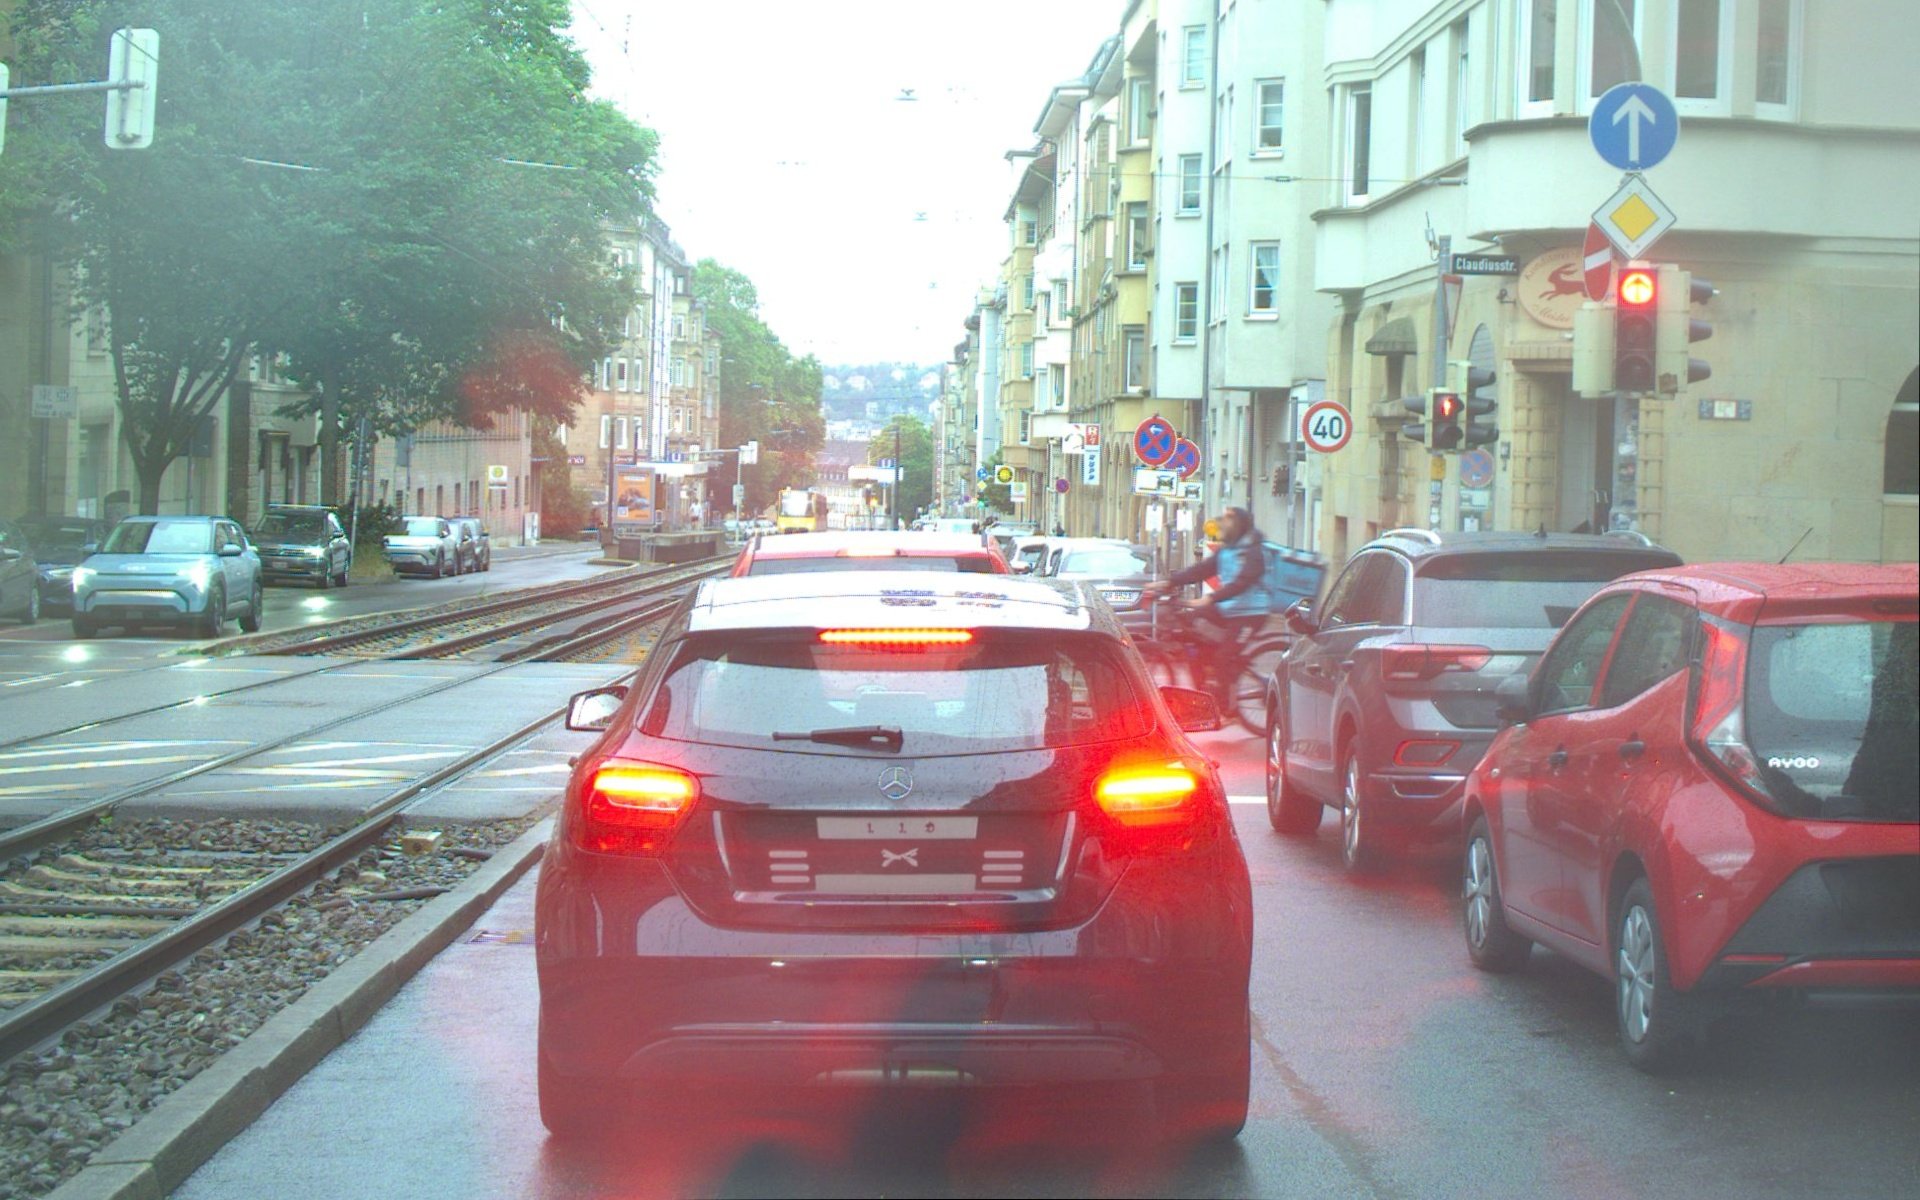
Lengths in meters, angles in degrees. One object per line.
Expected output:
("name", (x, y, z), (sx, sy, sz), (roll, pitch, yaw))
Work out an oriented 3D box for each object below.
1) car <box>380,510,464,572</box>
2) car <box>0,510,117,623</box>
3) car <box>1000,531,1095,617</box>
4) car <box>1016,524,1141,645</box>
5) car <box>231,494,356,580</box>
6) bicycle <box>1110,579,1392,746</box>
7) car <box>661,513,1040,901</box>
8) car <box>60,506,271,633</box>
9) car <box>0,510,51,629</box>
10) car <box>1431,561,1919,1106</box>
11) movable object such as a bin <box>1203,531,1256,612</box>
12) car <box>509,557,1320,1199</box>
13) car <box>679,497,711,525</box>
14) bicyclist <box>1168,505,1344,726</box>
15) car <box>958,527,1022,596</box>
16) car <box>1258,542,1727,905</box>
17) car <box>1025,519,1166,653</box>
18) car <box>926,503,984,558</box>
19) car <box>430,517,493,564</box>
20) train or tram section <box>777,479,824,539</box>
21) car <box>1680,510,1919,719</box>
("car", (-13.999, -1.520, 89.632), (1.589, 1.575, 3.918), (1, 0, -1))
("car", (-13.740, -0.509, 51.190), (1.716, 1.605, 3.919), (1, 0, -5))
("car", (1.549, -0.489, 61.992), (1.544, 1.481, 3.548), (1, 1, -1))
("car", (1.608, -0.241, 47.582), (1.544, 1.585, 3.548), (1, 1, -1))
("car", (-13.961, -1.308, 72.169), (1.875, 1.731, 3.918), (1, 0, -1))
("bicycle", (2.146, 0.452, 25.499), (2.031, 1.182, 0.826), (1, 0, 4))
("car", (-0.484, 0.433, 16.311), (1.565, 1.604, 3.814), (1, 0, -1))
("car", (-10.463, -0.406, 45.546), (1.898, 1.582, 3.973), (1, 0, -1))
("car", (-13.488, -0.422, 46.160), (1.752, 1.547, 4.036), (1, 0, -4))
("car", (2.645, 0.626, 10.992), (1.642, 1.443, 3.299), (1, 1, -3))
("movable object such as a bin", (4.708, -0.494, 60.039), (0.878, 1.384, 0.982), (1, 0, 3))
("car", (-0.130, 0.632, 9.924), (1.829, 1.453, 4.104), (1, 1, -1))
("car", (-12.424, -4.169, 161.245), (1.377, 1.245, 3.298), (1, 0, -2))
("bicyclist", (2.184, 0.108, 25.485), (1.249, 1.592, 0.887), (1, 0, 3))
("car", (0.630, -0.843, 74.061), (1.294, 1.437, 2.929), (1, 1, -1))
("car", (2.382, 0.484, 16.230), (1.544, 1.481, 3.830), (1, 1, -1))
("car", (1.664, -0.205, 43.107), (1.544, 1.585, 3.548), (1, 1, -1))
("car", (-0.182, -2.456, 121.514), (1.993, 1.870, 4.000), (1, 0, -1))
("car", (-14.342, -1.704, 99.041), (1.448, 1.326, 3.272), (1, 0, -2))
("train or tram section", (-10.669, -6.053, 230.692), (2.783, 3.847, 10.430), (1, 0, -1))
("car", (7.848, 0.119, 28.049), (3.674, 1.630, 1.549), (1, 1, 6))
